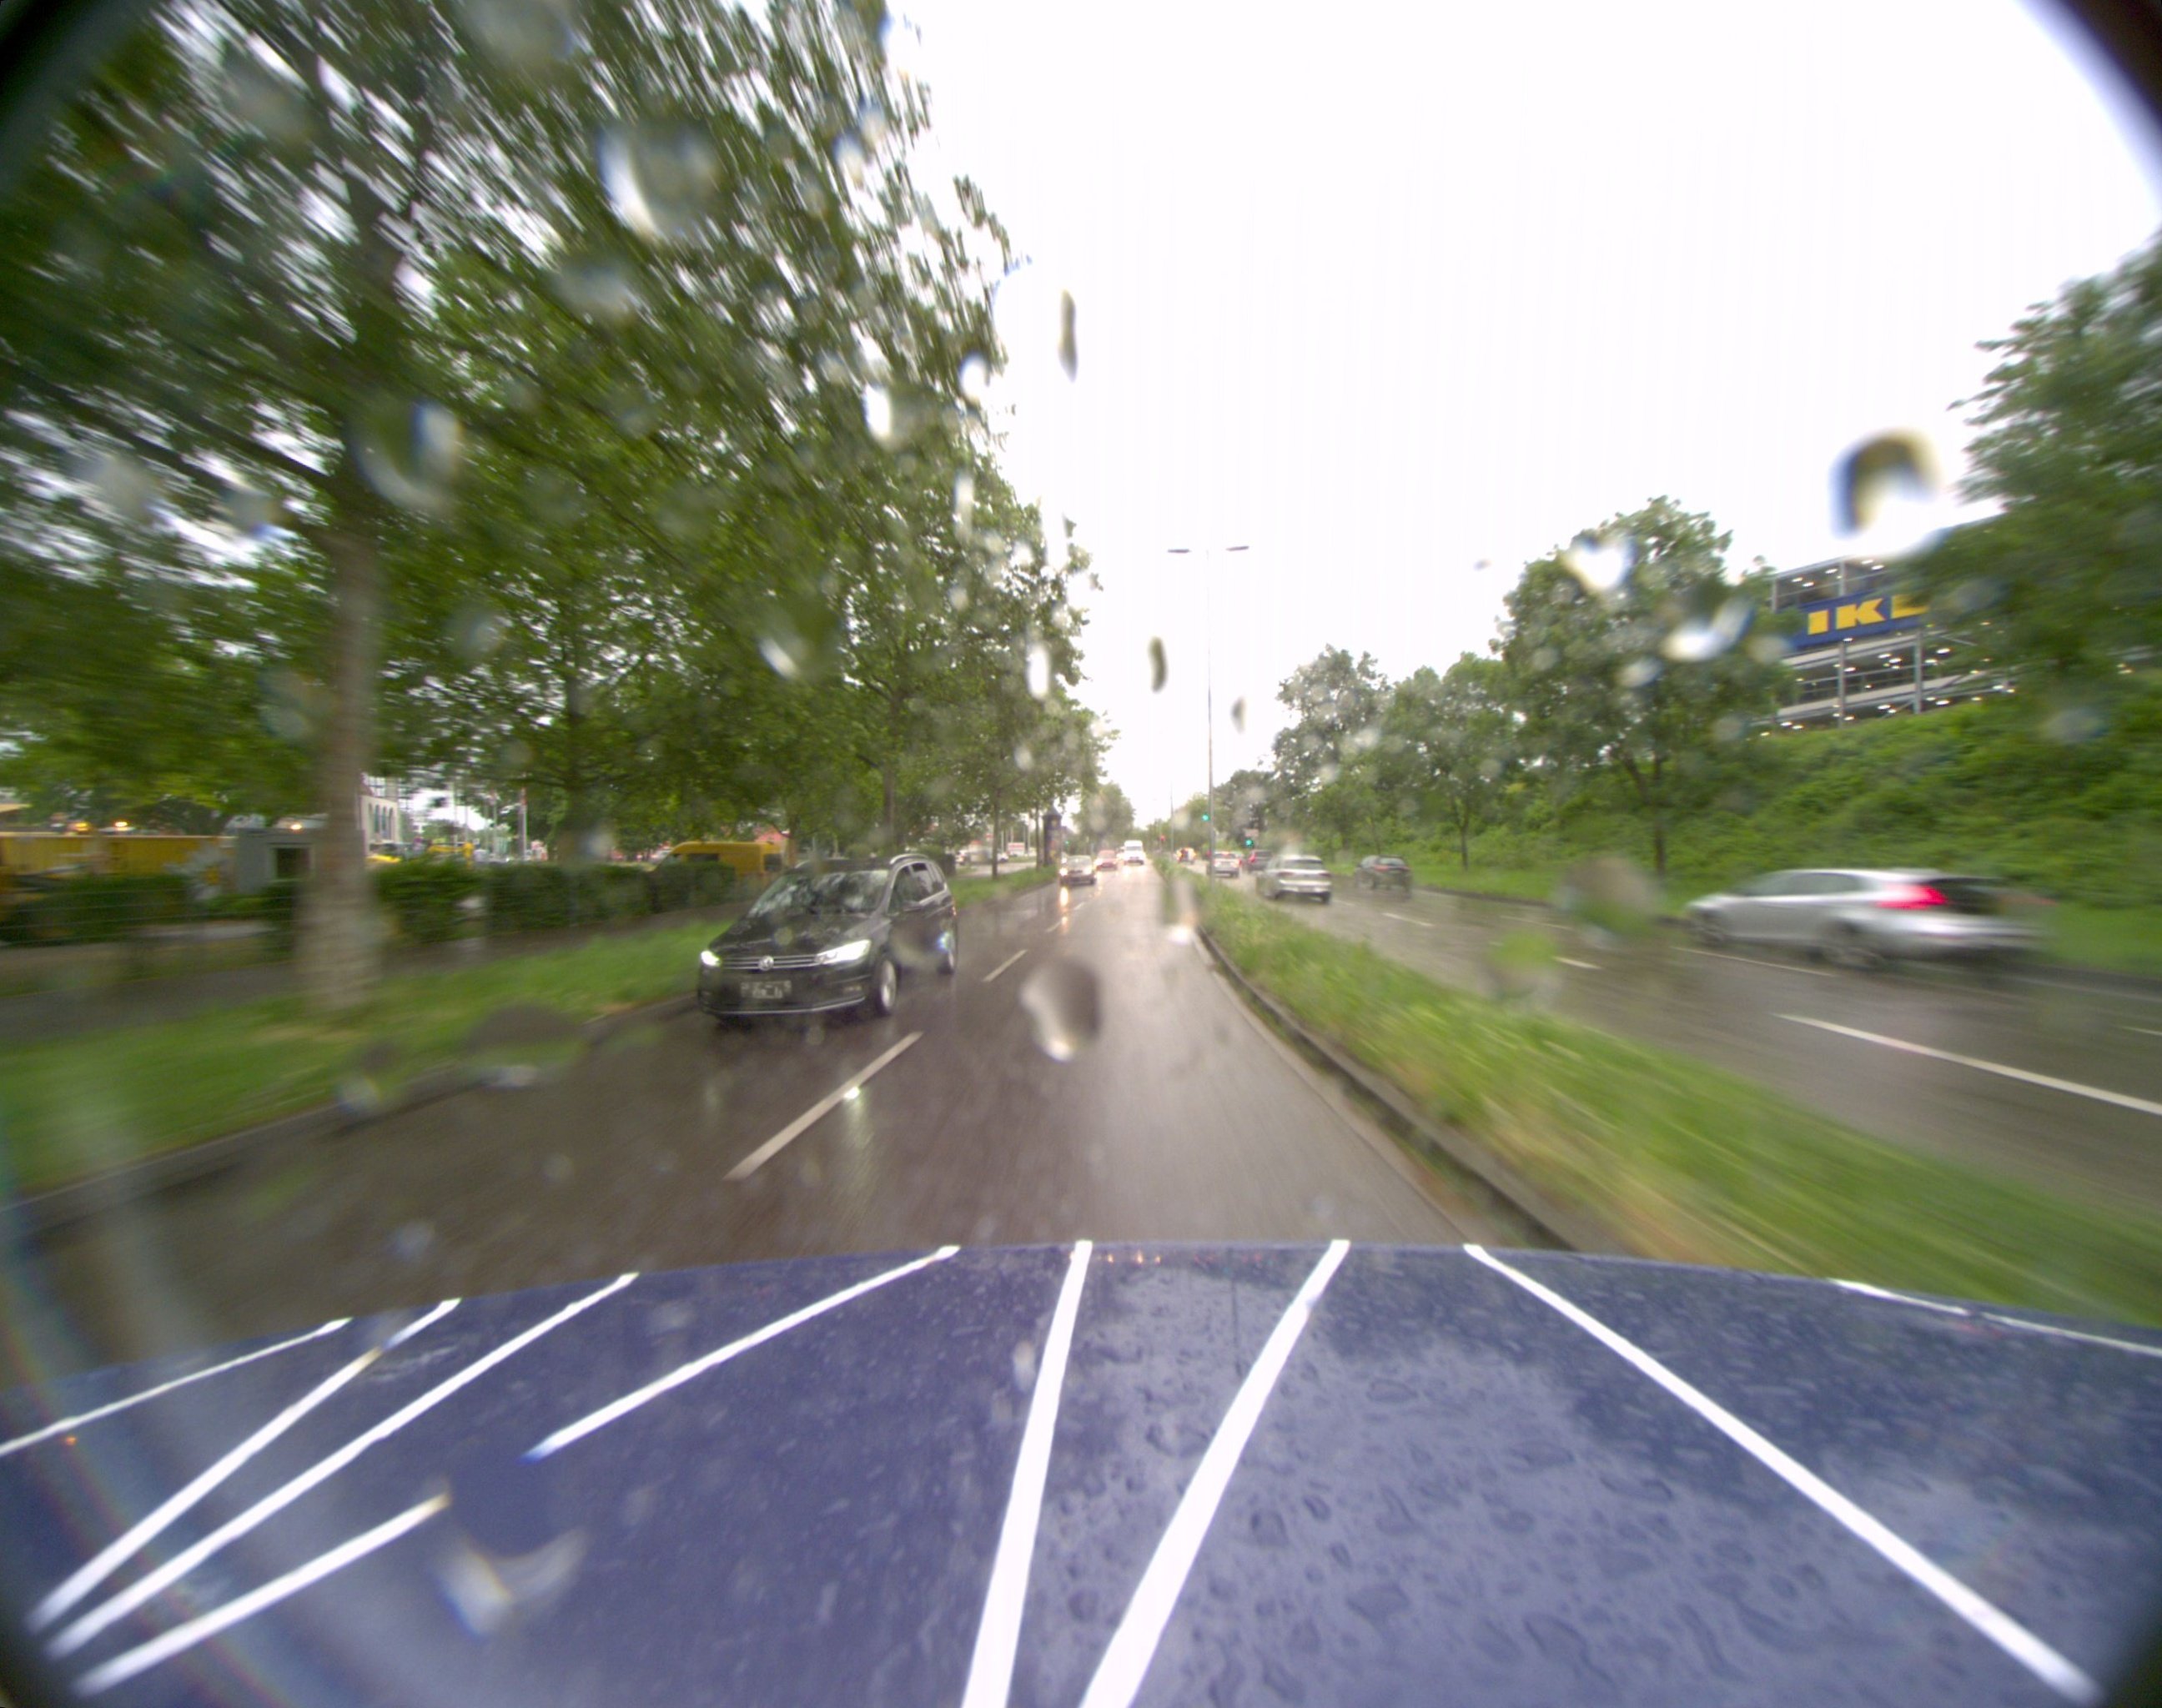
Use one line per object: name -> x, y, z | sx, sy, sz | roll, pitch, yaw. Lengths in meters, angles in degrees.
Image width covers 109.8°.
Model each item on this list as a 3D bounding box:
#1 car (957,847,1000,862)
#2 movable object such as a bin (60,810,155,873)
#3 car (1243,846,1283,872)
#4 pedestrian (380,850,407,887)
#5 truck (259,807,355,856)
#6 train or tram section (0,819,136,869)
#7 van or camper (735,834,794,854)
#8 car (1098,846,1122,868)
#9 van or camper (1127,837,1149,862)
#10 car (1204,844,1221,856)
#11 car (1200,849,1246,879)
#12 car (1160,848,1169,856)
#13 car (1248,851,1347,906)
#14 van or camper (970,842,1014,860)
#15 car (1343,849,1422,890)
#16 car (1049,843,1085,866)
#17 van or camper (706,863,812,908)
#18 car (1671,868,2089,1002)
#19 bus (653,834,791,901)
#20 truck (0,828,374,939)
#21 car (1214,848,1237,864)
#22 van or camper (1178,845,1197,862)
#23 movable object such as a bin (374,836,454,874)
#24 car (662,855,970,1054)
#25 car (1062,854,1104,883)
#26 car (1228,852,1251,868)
car -> -11.582, 0.016, 86.043 | 4.469, 1.663, 1.863 | 0, 1, -34
movable object such as a bin -> -58.208, -0.729, 45.541 | 3.602, 3.605, 3.326 | 1, 1, 40
car -> 12.609, 0.344, 52.899 | 1.997, 1.678, 4.710 | 2, 0, 5
pedestrian -> -39.974, 0.814, 44.201 | 0.945, 2.098, 0.902 | -1, 1, -28
truck -> -57.397, -1.624, 56.628 | 2.500, 3.326, 9.446 | -3, 2, -30
train or tram section -> -75.876, -0.717, 55.310 | 8.384, 3.500, 2.394 | -3, 2, -33
van or camper -> -54.467, -1.768, 130.823 | 8.993, 3.140, 2.980 | -3, 2, -31
car -> 2.453, 0.208, 63.916 | 1.699, 1.759, 4.559 | -1, 0, 6
van or camper -> 6.067, -0.485, 80.574 | 2.099, 2.579, 4.777 | -2, 0, 6
car -> 18.469, -0.515, 106.739 | 1.902, 1.604, 4.713 | 2, 1, 4
car -> 8.391, 0.549, 45.240 | 1.903, 1.604, 4.111 | 3, 1, 0
car -> 16.692, -0.410, 152.503 | 1.779, 1.552, 3.775 | -1, 1, 5
car -> 6.813, 0.701, 24.477 | 1.913, 1.565, 4.709 | 1, 0, 2
van or camper -> -10.604, -0.319, 90.560 | 4.917, 2.076, 1.863 | 0, 1, -34
car -> 13.324, 0.644, 33.928 | 1.998, 1.678, 4.710 | 1, 0, 5
car -> -1.328, 0.032, 70.579 | 1.934, 2.044, 4.747 | 0, 1, -20
van or camper -> -14.612, 1.412, 34.643 | 3.997, 1.896, 1.802 | -1, 0, 1
car -> 11.376, 1.017, 11.422 | 1.839, 1.493, 4.441 | 1, 0, 5
bus -> -14.926, 0.538, 31.760 | 4.802, 2.632, 2.001 | -1, 1, 6
truck -> -29.284, 0.792, 24.073 | 9.515, 3.015, 3.074 | -3, 2, -31
car -> 14.925, 0.181, 78.535 | 1.902, 1.604, 4.113 | 2, 1, 6
van or camper -> 11.626, -0.043, 82.892 | 1.732, 1.732, 4.001 | 2, 1, 4
movable object such as a bin -> -42.526, 0.031, 48.544 | 3.284, 2.342, 2.010 | -1, 1, -18
car -> -2.701, 0.913, 8.928 | 1.860, 1.716, 4.191 | -2, 1, 4
car -> 0.155, 0.719, 39.995 | 1.806, 1.422, 4.388 | -1, 1, 5
car -> 17.891, 0.617, 86.122 | 1.997, 1.678, 4.710 | 2, 0, 5
